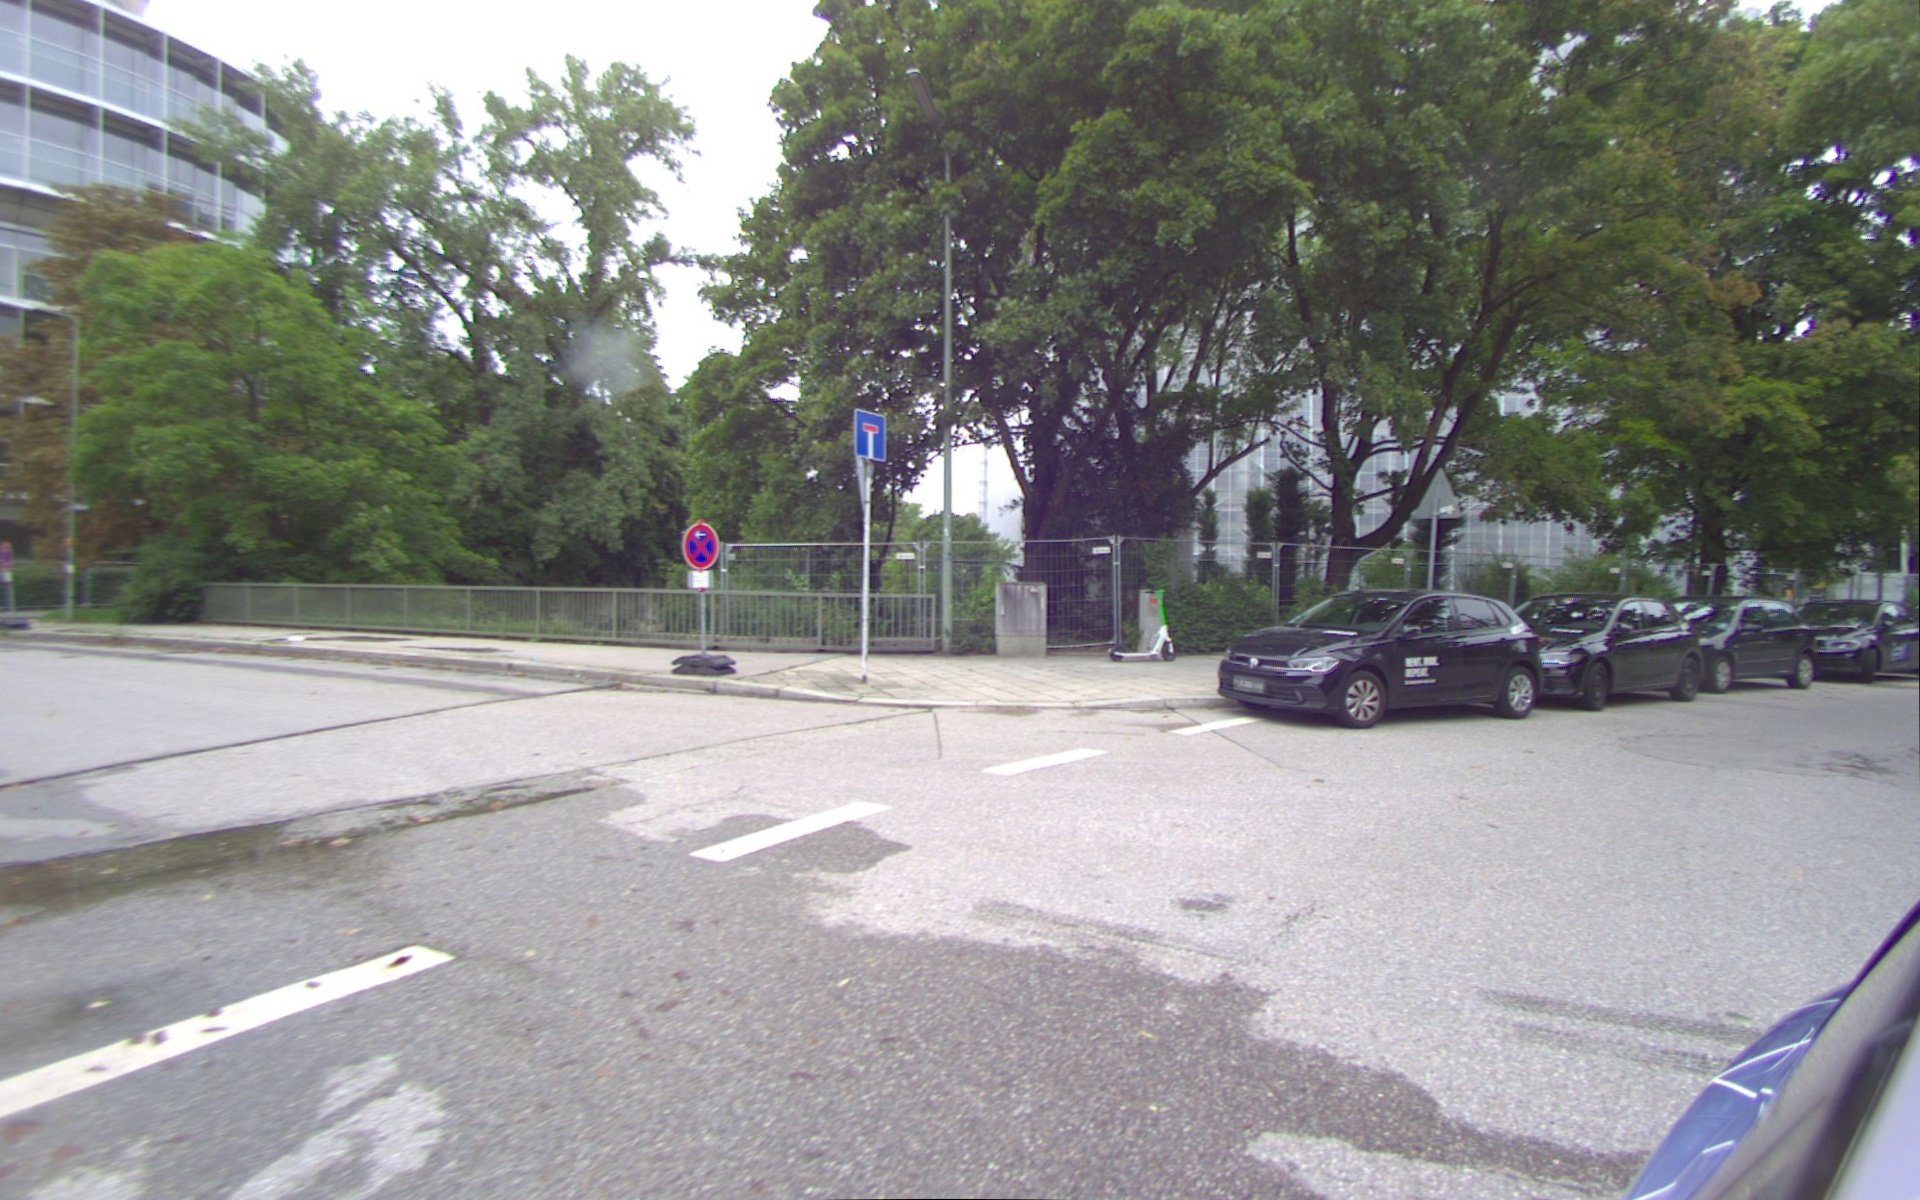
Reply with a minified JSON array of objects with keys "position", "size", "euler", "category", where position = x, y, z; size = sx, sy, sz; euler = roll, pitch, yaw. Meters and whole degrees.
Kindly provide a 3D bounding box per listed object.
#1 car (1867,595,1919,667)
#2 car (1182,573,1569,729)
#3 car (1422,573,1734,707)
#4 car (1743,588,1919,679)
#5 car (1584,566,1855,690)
[{"position":[20.645,0.616,20.613],"size":[4.131,1.401,1.805],"euler":[0,0,-26],"category":"car"},{"position":[4.764,0.478,11.593],"size":[3.960,1.450,2.004],"euler":[0,3,-28],"category":"car"},{"position":[8.373,0.450,13.681],"size":[3.920,1.560,2.002],"euler":[0,1,-31],"category":"car"},{"position":[16.253,0.550,18.353],"size":[3.925,1.479,1.843],"euler":[0,0,-29],"category":"car"},{"position":[12.255,0.382,16.315],"size":[3.919,1.727,2.003],"euler":[0,2,-29],"category":"car"}]
